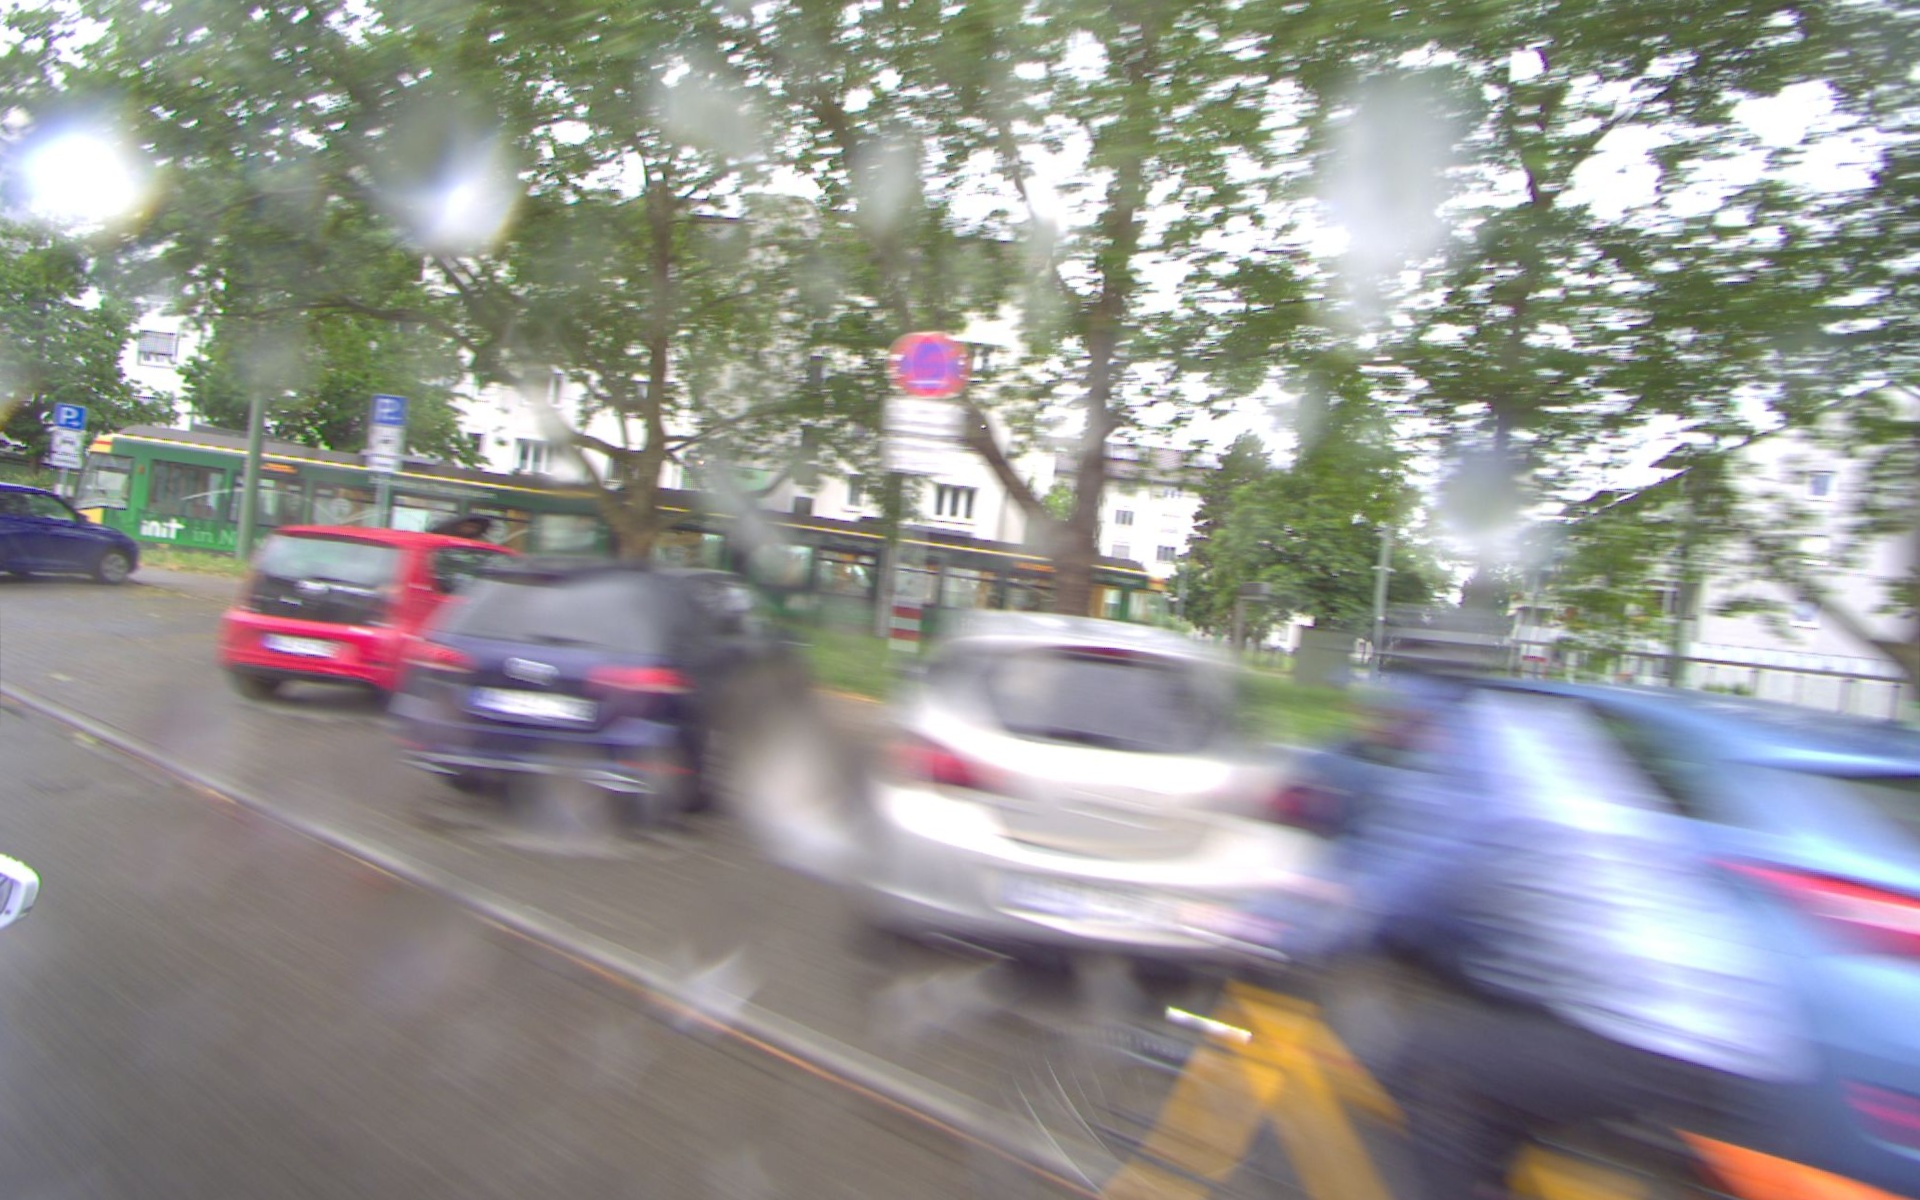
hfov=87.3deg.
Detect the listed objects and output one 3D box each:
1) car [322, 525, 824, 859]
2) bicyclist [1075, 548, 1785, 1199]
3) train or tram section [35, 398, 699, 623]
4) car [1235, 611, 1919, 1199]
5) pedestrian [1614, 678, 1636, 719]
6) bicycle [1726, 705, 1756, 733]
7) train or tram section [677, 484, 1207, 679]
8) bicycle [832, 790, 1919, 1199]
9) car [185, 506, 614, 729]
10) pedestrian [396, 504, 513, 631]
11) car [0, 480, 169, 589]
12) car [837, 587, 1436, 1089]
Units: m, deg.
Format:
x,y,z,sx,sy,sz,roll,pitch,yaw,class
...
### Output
x,y,z,sx,sy,sz,roll,pitch,yaw,class
-2.244,0.429,7.148,1.831,1.499,4.119,6,1,0,car
0.799,0.731,1.796,0.833,1.504,0.750,8,2,37,bicyclist
-14.486,-2.031,26.118,14.493,3.632,2.710,7,-1,-11,train or tram section
2.933,1.015,4.444,1.792,1.521,3.990,5,3,-8,car
27.347,4.045,41.367,0.626,1.592,0.788,5,0,32,pedestrian
30.136,4.567,38.841,0.410,0.959,1.308,5,-1,17,bicycle
-0.367,-0.360,28.966,14.493,3.632,2.710,7,-1,-11,train or tram section
0.735,1.120,1.818,1.897,1.086,0.752,8,1,37,bicycle
-4.862,0.110,9.365,1.606,1.499,3.598,6,1,6,car
-7.529,-0.472,15.000,1.062,1.736,1.045,7,1,32,pedestrian
-14.824,-1.071,15.496,1.963,1.501,3.999,8,0,1,car
0.553,0.799,5.427,1.924,1.573,3.997,5,1,-2,car
